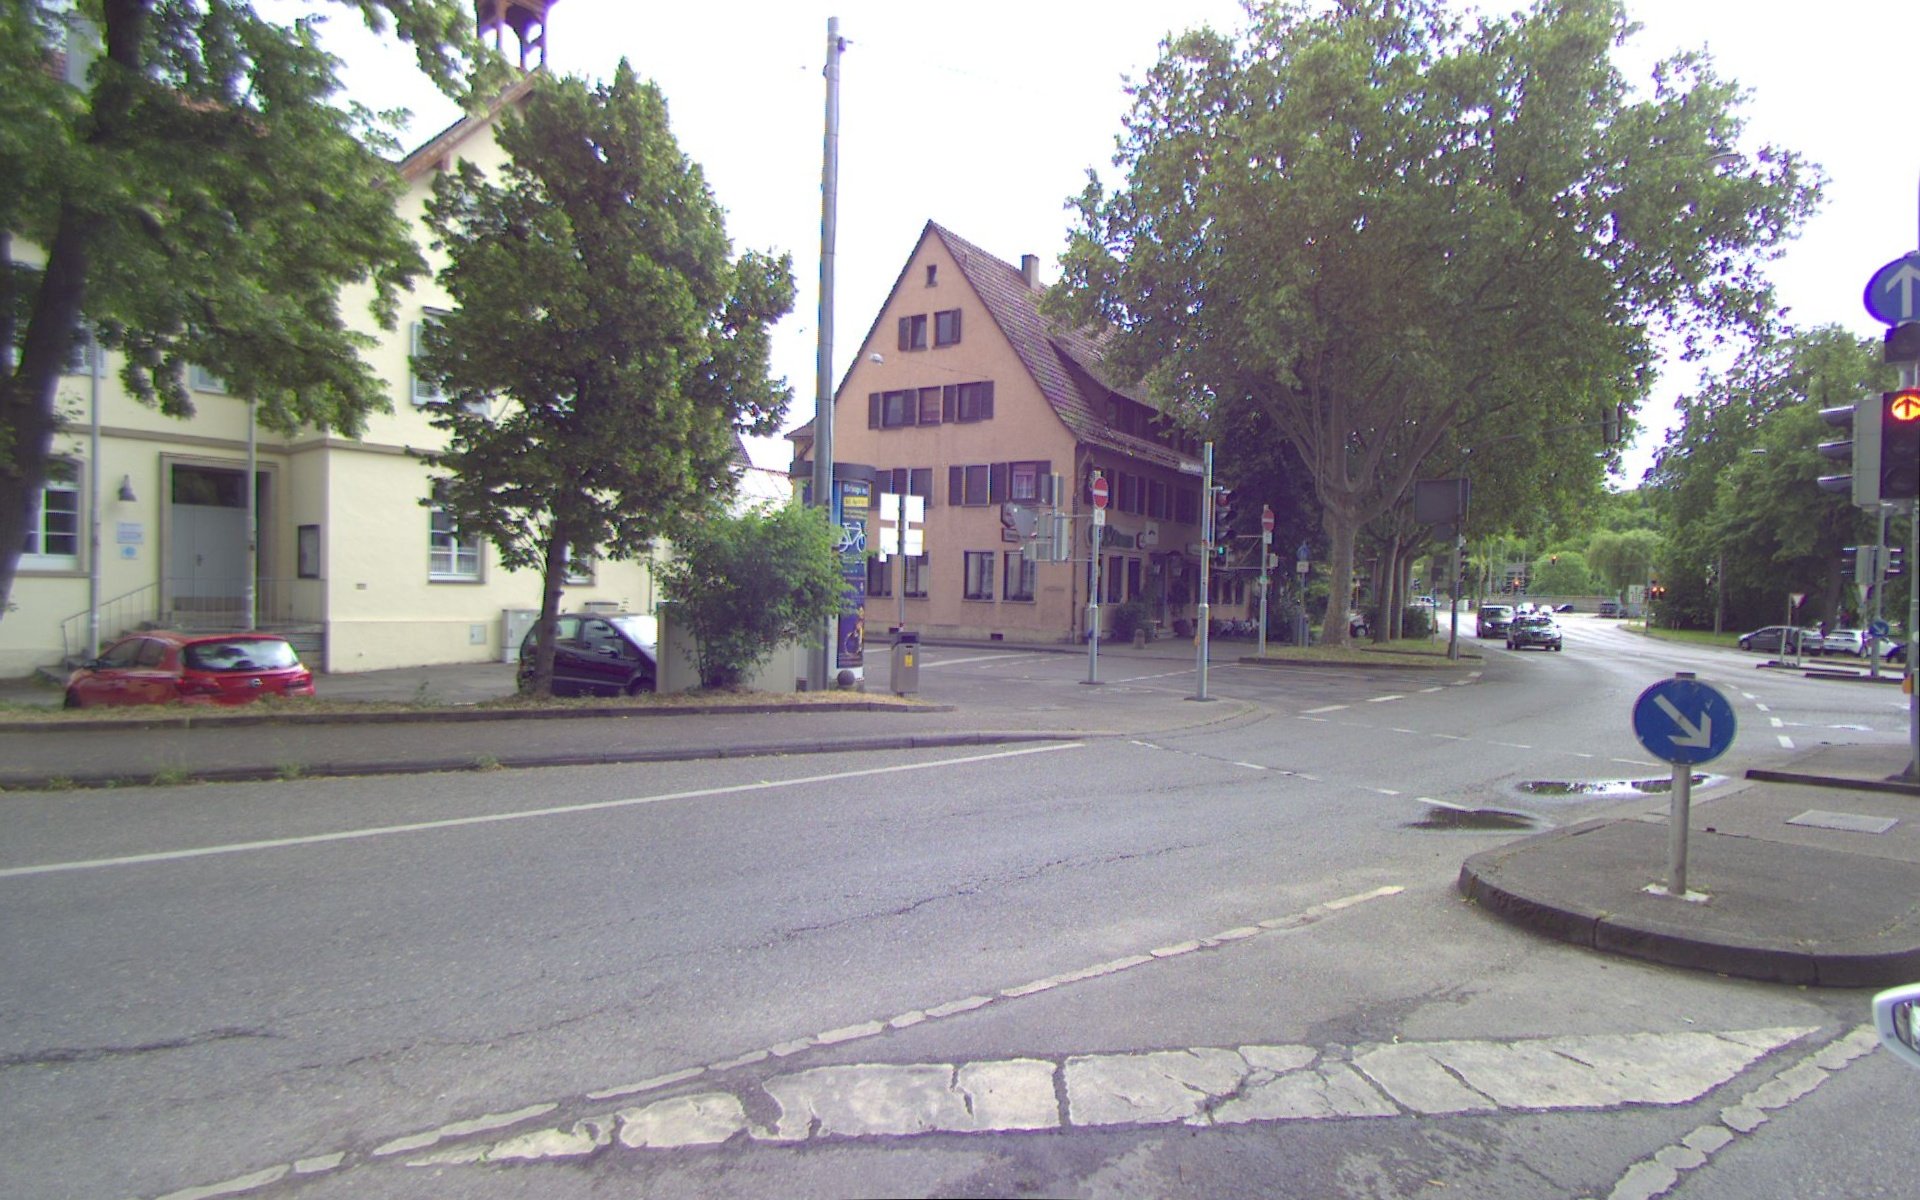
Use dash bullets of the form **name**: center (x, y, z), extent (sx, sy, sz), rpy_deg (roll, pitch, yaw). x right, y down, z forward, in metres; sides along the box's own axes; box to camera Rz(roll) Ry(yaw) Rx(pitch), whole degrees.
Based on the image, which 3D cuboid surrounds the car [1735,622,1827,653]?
- **car**: center (43.865, 1.970, 53.764), extent (1.559, 1.484, 3.543), rpy_deg (2, 0, -17)

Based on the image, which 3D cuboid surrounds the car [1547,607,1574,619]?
- **car**: center (108.237, 2.318, 181.090), extent (3.928, 2.040, 1.996), rpy_deg (2, 0, 30)

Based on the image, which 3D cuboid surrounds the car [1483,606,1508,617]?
- **car**: center (100.723, 2.130, 188.936), extent (3.928, 2.040, 1.996), rpy_deg (2, 0, 30)

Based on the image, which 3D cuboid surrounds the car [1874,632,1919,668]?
- **car**: center (39.570, 2.079, 40.948), extent (1.442, 1.412, 3.596), rpy_deg (2, 0, 3)

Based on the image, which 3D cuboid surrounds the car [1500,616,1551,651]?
- **car**: center (24.530, 1.435, 43.659), extent (1.404, 1.435, 2.872), rpy_deg (1, -1, 19)

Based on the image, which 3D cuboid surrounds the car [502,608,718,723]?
- **car**: center (-5.764, 1.010, 16.599), extent (3.035, 1.654, 1.607), rpy_deg (2, 0, 22)

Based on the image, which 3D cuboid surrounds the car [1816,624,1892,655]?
- **car**: center (47.303, 2.083, 53.164), extent (3.342, 1.484, 1.543), rpy_deg (2, 0, -19)

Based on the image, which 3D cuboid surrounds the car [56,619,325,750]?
- **car**: center (-10.175, 1.017, 13.252), extent (3.492, 1.397, 1.605), rpy_deg (2, 0, 30)

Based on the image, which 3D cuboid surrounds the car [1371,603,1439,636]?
- **car**: center (25.471, 1.089, 57.471), extent (3.387, 1.765, 1.570), rpy_deg (2, 0, 28)

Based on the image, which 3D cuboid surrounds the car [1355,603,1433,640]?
- **car**: center (21.410, 1.050, 49.587), extent (3.387, 1.663, 1.570), rpy_deg (2, 0, 28)

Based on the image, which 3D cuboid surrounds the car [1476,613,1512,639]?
- **car**: center (31.114, 1.513, 58.616), extent (1.404, 1.435, 2.872), rpy_deg (1, -1, 19)
